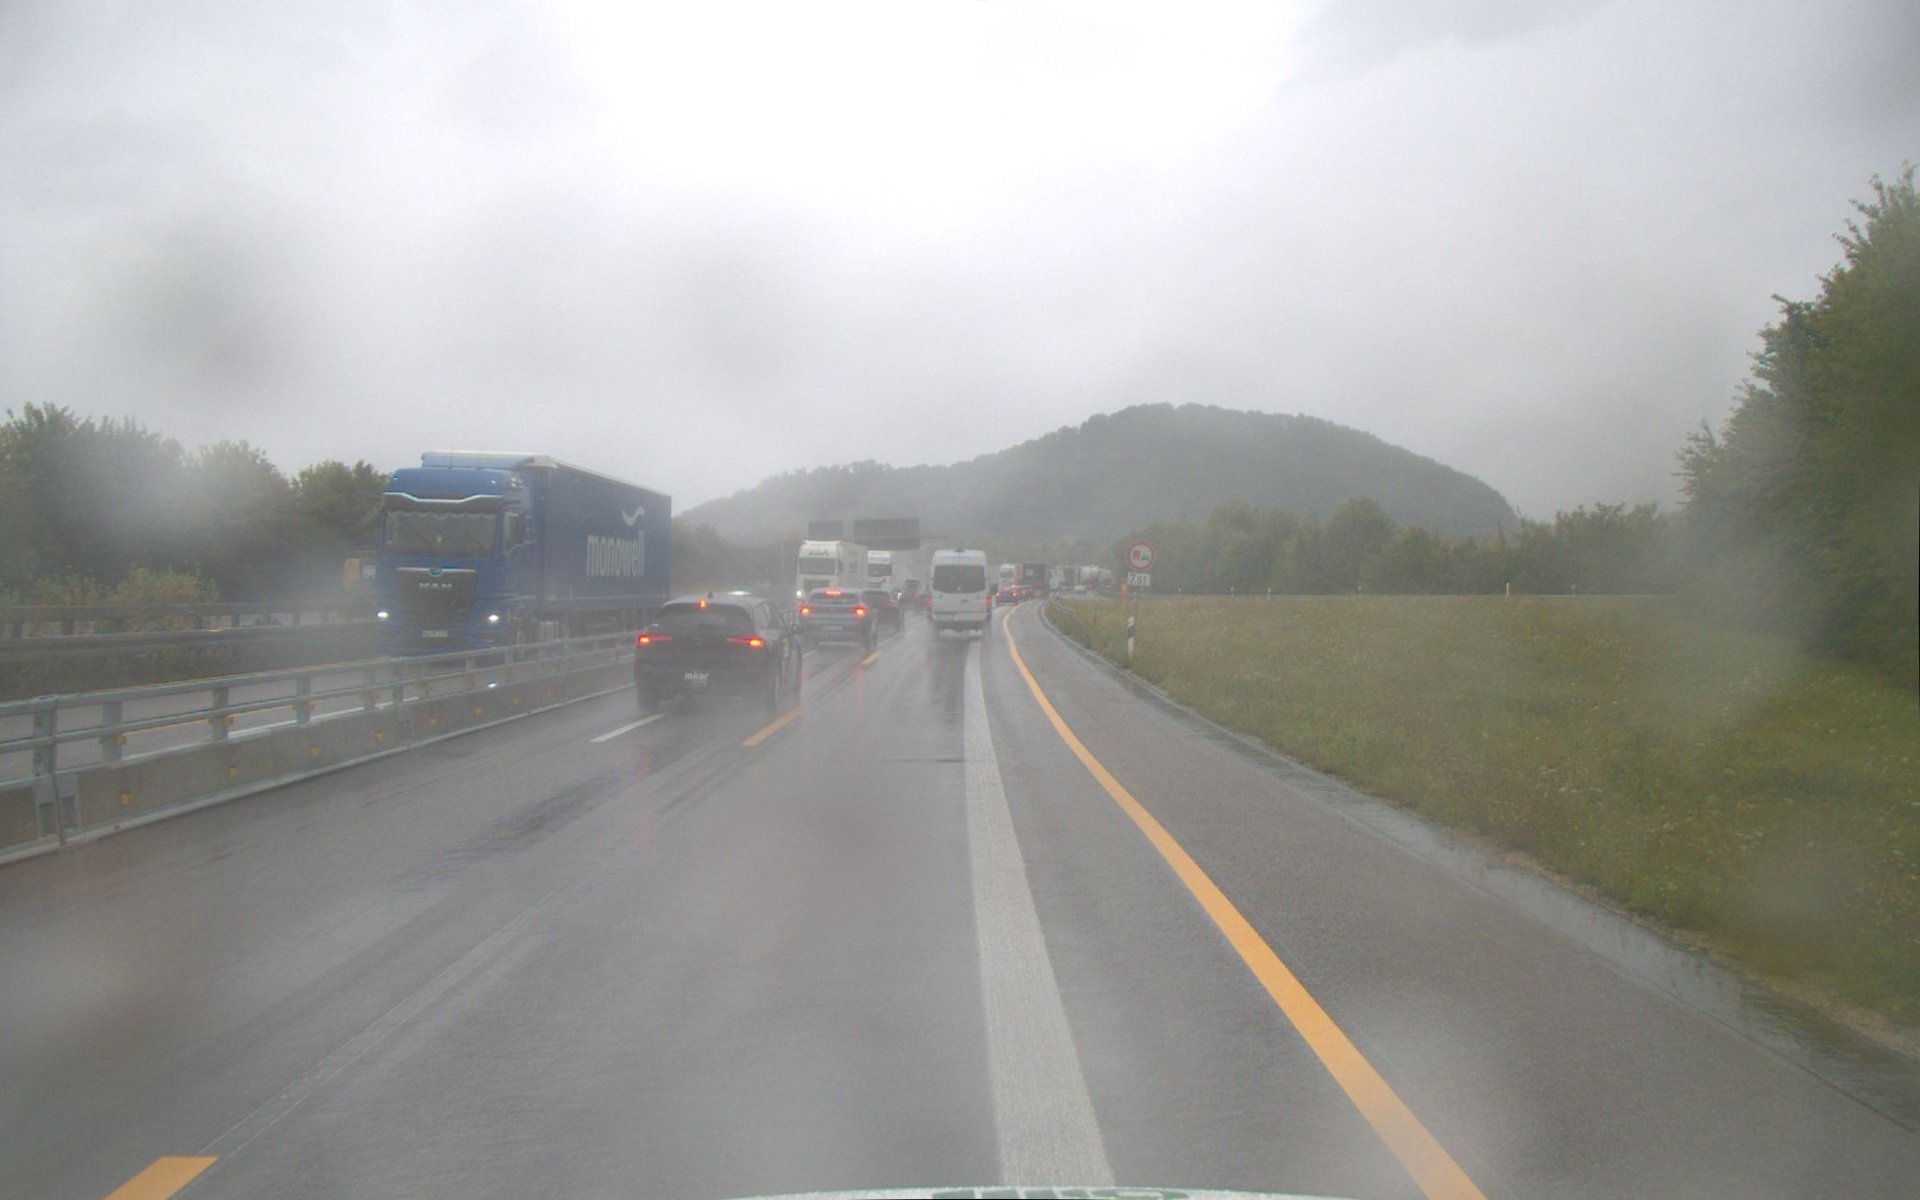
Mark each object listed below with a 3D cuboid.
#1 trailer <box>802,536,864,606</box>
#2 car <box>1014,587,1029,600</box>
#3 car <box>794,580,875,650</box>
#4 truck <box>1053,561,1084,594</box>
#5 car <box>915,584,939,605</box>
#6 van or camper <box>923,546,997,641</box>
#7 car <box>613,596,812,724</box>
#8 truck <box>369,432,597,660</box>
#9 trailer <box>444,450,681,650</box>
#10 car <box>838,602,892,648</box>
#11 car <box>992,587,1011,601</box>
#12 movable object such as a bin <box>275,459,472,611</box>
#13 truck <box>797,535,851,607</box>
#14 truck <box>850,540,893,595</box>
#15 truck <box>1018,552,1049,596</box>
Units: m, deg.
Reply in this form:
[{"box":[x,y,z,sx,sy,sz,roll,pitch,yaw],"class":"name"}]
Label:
[{"box":[-7.870,-1.851,104.194,2.442,4.119,12.592,0,1,2],"class":"trailer"},{"box":[5.766,-0.609,155.197,1.356,1.278,3.123,1,0,0],"class":"car"},{"box":[-3.137,0.347,42.122,1.829,1.688,3.987,1,0,-1],"class":"car"},{"box":[16.712,-3.448,254.804,3.845,4.868,9.915,2,0,9],"class":"truck"},{"box":[-1.768,-0.313,89.659,1.237,1.097,3.254,1,0,0],"class":"car"},{"box":[-0.050,-0.203,51.104,2.096,2.768,4.646,1,0,-2],"class":"van or camper"},{"box":[-3.136,0.706,21.909,1.899,1.452,4.760,1,0,0],"class":"car"},{"box":[-9.508,-1.034,33.761,2.569,4.153,6.670,1,1,1],"class":"truck"},{"box":[-9.365,-1.067,40.853,2.546,4.149,12.434,1,0,1],"class":"trailer"},{"box":[-3.346,0.865,58.927,1.815,1.527,3.998,1,0,-2],"class":"car"},{"box":[3.282,-0.449,131.497,1.356,1.097,3.121,1,0,-2],"class":"car"},{"box":[-25.230,-2.620,72.066,4.084,6.018,11.049,2,0,2],"class":"movable object such as a bin"},{"box":[-8.054,-1.744,98.559,2.432,4.101,6.450,1,1,1],"class":"truck"},{"box":[-6.844,-2.532,129.186,2.824,4.173,6.928,0,1,1],"class":"truck"},{"box":[8.706,-3.024,195.202,3.251,4.868,9.912,2,0,4],"class":"truck"}]
